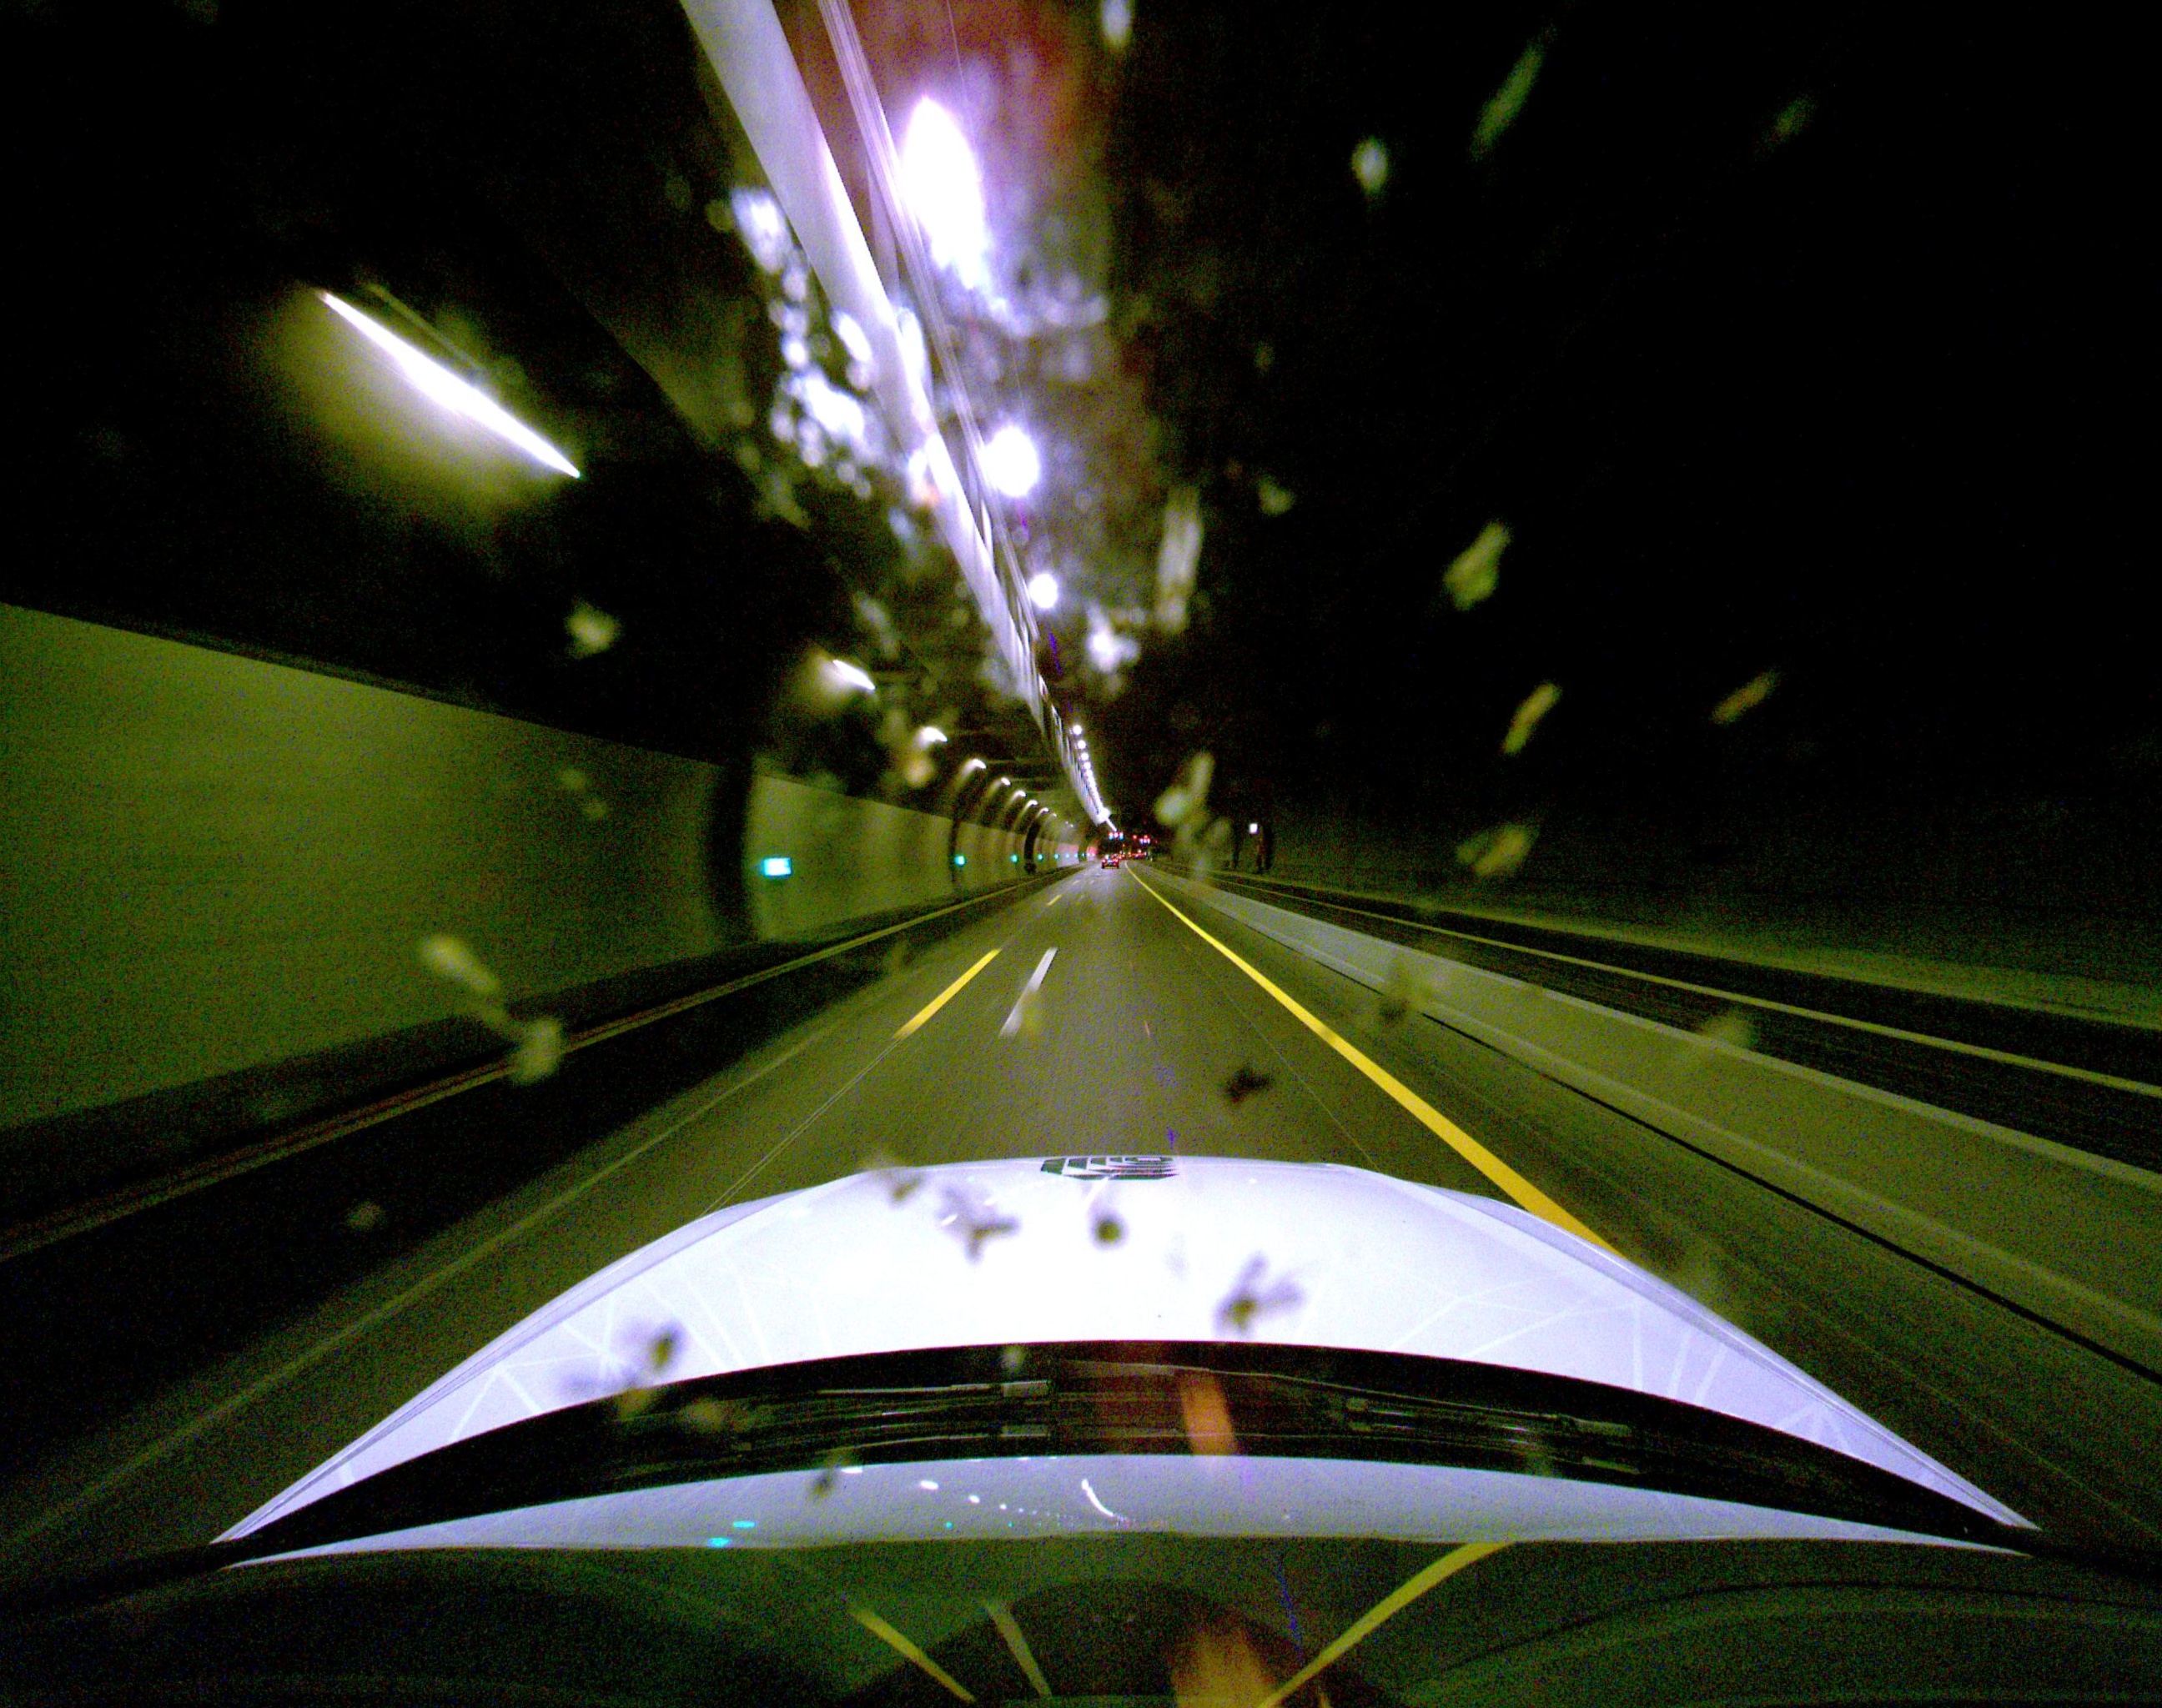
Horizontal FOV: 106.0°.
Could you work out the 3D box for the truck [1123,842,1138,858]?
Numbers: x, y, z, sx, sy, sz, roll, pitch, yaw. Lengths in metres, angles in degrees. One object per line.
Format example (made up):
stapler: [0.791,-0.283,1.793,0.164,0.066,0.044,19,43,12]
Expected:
truck: [15.468,-1.286,256.119,4.526,4.987,9.607,0,0,3]

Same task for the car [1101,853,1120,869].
car: [3.157,0.750,87.364,1.881,1.607,4.000,0,0,1]

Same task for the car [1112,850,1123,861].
car: [6.795,0.356,153.507,1.986,2.013,4.001,-1,0,1]

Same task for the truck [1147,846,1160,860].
truck: [17.823,-0.162,199.744,2.880,3.272,8.409,0,0,4]
